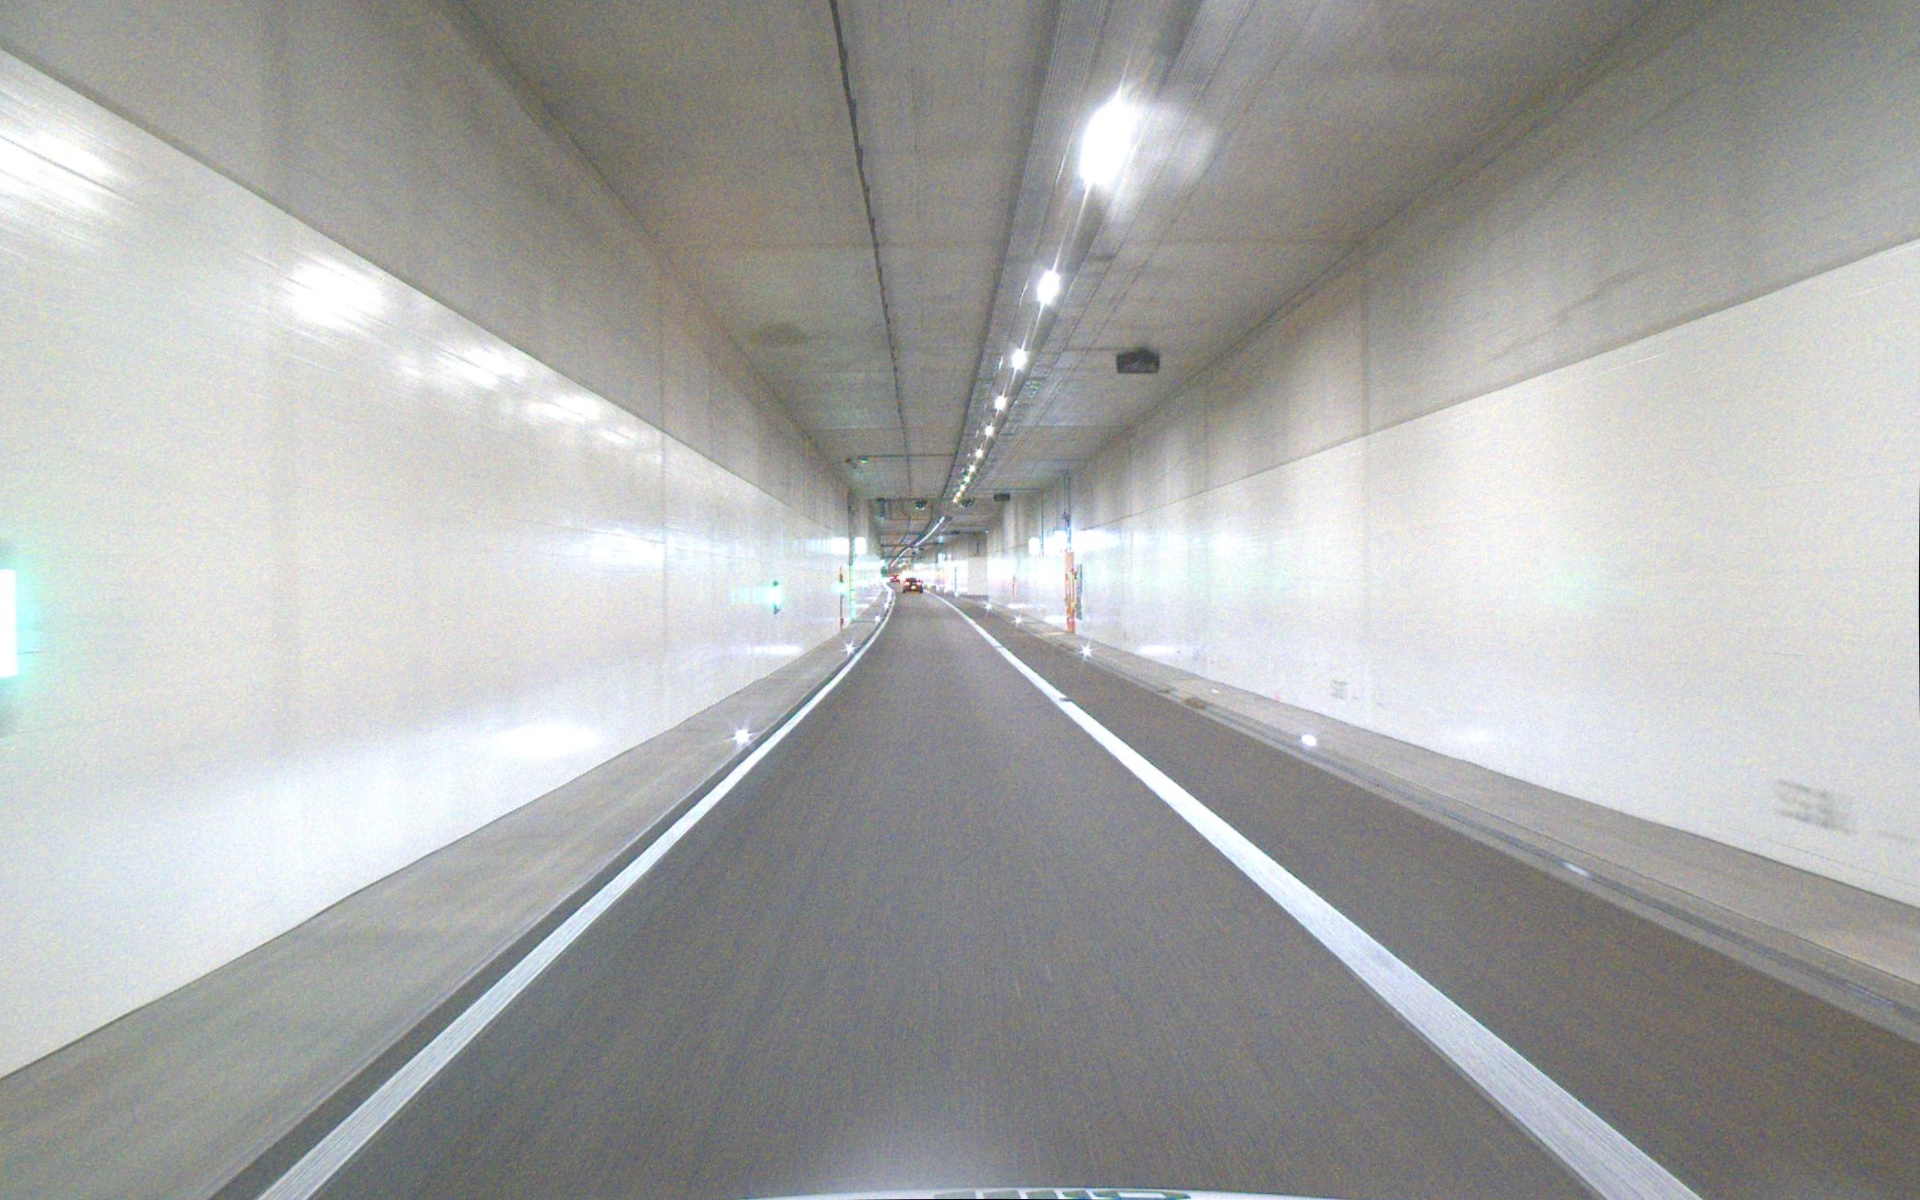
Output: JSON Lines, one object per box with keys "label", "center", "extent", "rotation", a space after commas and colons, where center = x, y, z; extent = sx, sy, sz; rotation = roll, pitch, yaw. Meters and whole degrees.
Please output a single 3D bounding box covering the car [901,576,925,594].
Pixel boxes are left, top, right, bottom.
{"label": "car", "center": [-4.328, -1.375, 151.278], "extent": [1.954, 1.444, 3.998], "rotation": [-3, 1, -3]}
